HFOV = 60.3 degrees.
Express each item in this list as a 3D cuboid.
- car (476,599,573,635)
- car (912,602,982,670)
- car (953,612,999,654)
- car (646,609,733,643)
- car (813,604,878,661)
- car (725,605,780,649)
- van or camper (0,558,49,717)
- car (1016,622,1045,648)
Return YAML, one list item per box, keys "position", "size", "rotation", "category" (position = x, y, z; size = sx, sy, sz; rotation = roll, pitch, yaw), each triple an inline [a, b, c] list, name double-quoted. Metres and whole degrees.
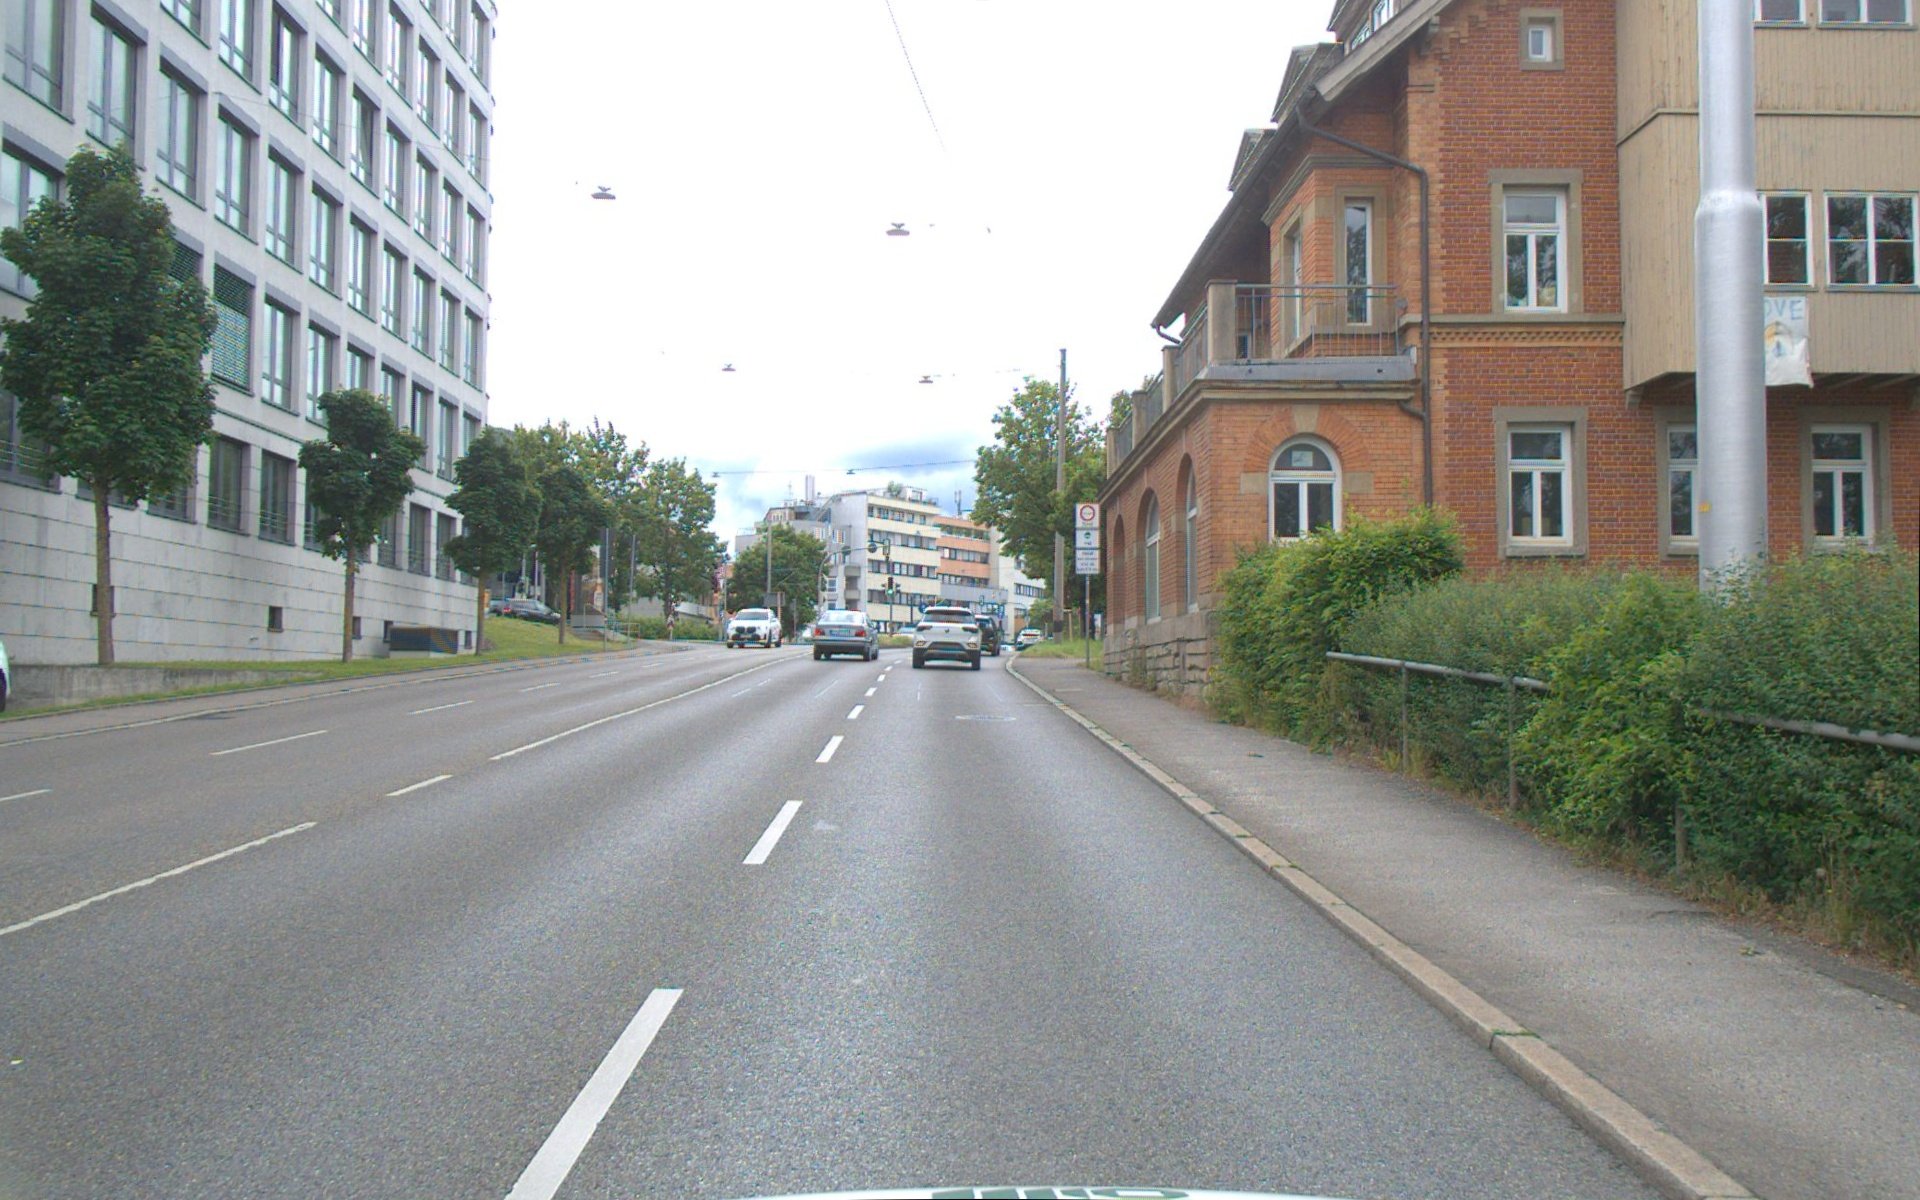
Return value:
- position: [-19.377, 0.787, 73.763]
  size: [1.741, 1.488, 4.437]
  rotation: [2, 0, 24]
  category: "car"
- position: [-0.355, 0.901, 43.109]
  size: [1.665, 1.575, 3.735]
  rotation: [3, 0, -1]
  category: "car"
- position: [0.588, 1.269, 62.949]
  size: [1.665, 1.543, 3.493]
  rotation: [1, -2, 0]
  category: "car"
- position: [-13.143, 1.263, 80.479]
  size: [1.751, 1.571, 3.974]
  rotation: [0, -2, 43]
  category: "car"
- position: [-3.236, 0.894, 47.236]
  size: [1.665, 1.542, 3.735]
  rotation: [1, 0, -1]
  category: "car"
- position: [-9.066, 1.169, 72.524]
  size: [1.831, 1.820, 4.653]
  rotation: [-2, 0, -1]
  category: "car"
- position: [-13.109, 0.503, 19.470]
  size: [2.018, 2.002, 4.872]
  rotation: [-2, 0, 0]
  category: "van or camper"
- position: [4.513, 2.197, 105.741]
  size: [1.733, 1.598, 4.286]
  rotation: [0, 0, 3]
  category: "car"
